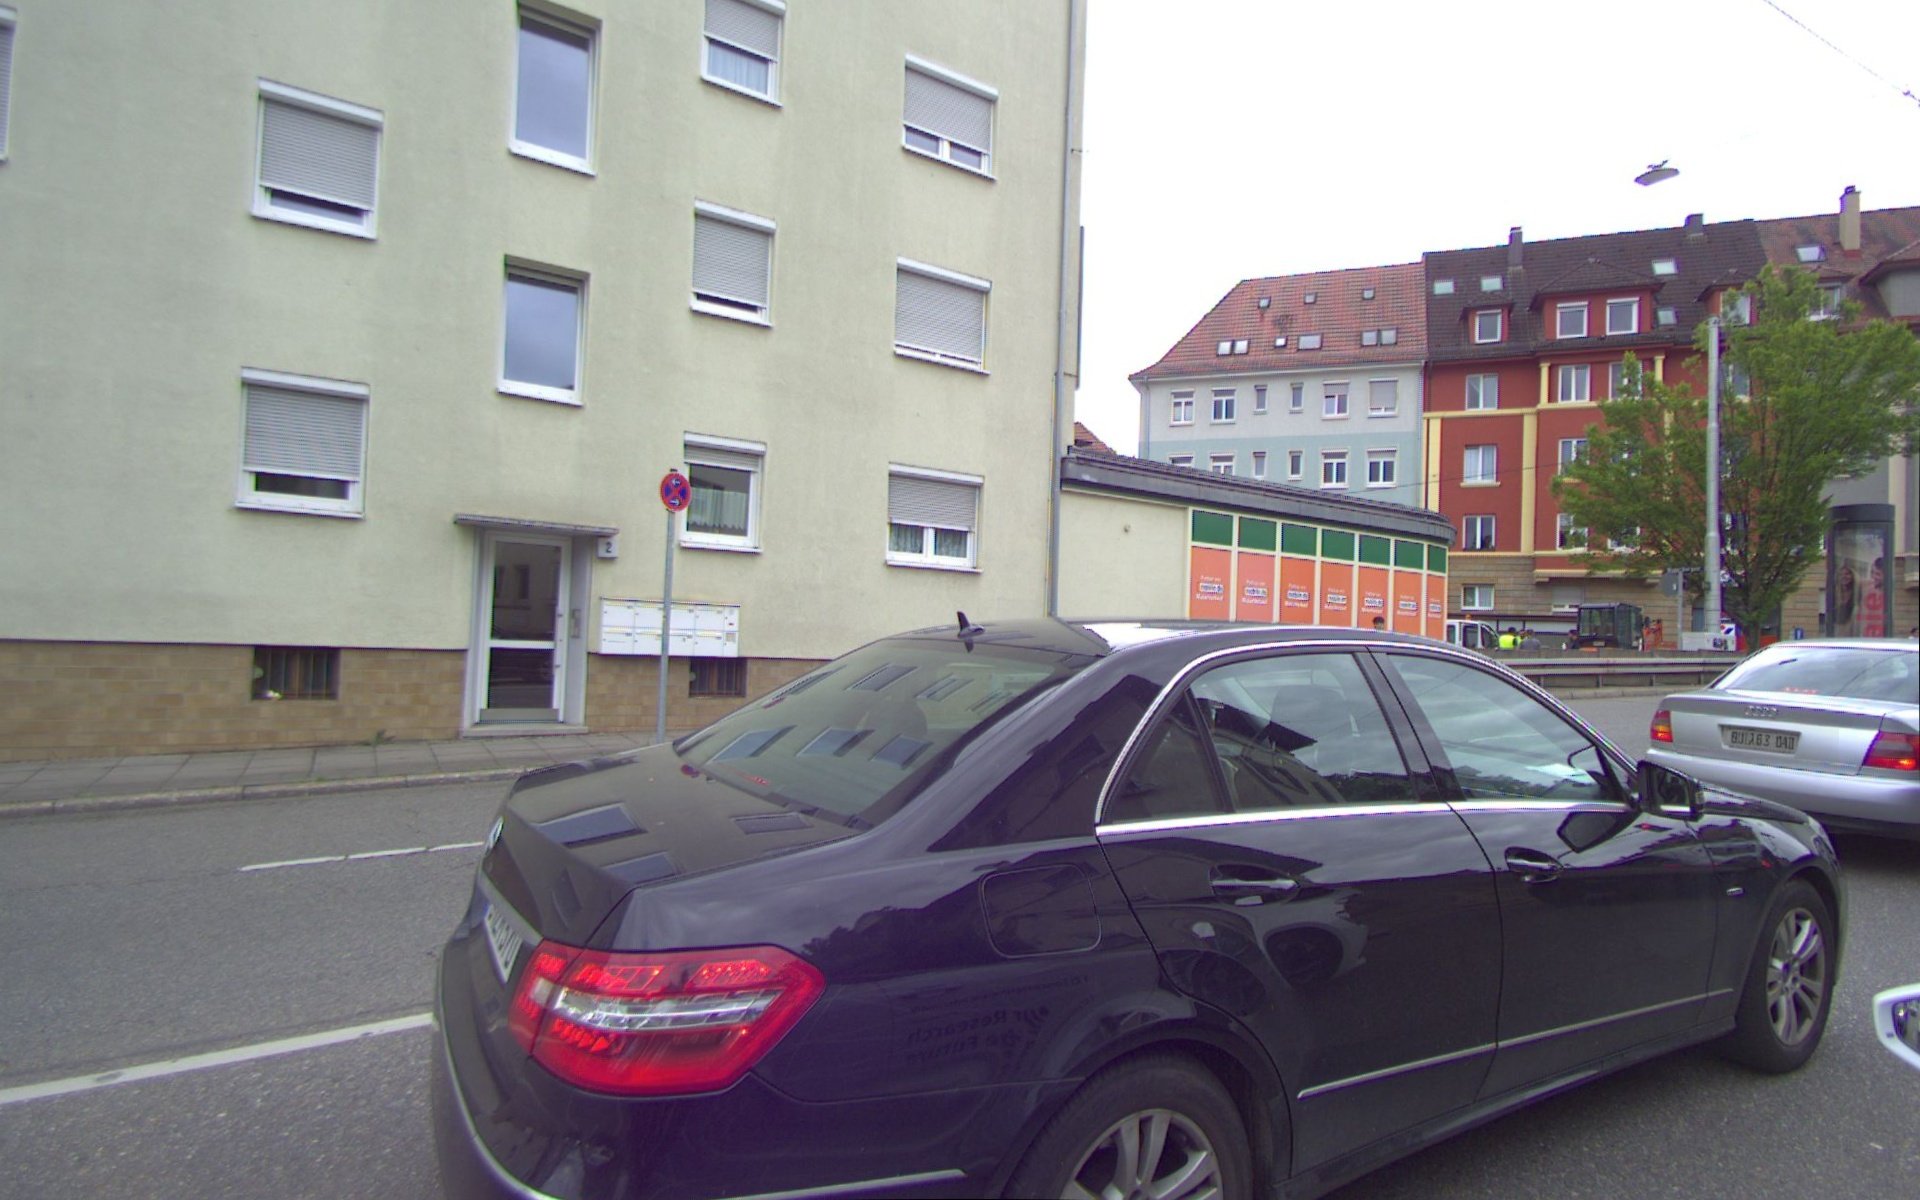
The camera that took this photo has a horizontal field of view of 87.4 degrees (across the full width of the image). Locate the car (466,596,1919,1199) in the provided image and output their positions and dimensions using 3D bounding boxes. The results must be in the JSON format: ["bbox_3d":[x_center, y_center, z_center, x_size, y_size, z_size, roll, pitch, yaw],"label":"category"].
[{"bbox_3d":[1.070,0.784,3.381,4.785,1.447,1.984,1,-2,-30],"label":"car"}]

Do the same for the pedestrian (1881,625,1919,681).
[{"bbox_3d":[26.843,1.488,28.469,0.724,1.567,0.794,0,-1,-3],"label":"pedestrian"}]

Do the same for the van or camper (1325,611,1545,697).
[{"bbox_3d":[14.527,1.580,31.017,5.894,2.369,2.686,0,-1,26],"label":"van or camper"}]

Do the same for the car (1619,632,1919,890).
[{"bbox_3d":[6.697,0.929,7.057,4.073,1.383,1.623,1,-2,-26],"label":"car"}]

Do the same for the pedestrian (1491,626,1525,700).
[{"bbox_3d":[15.531,1.761,28.480,0.811,2.040,0.679,0,0,25],"label":"pedestrian"}]

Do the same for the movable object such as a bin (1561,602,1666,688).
[{"bbox_3d":[16.546,1.115,25.381,3.510,2.040,1.363,2,-2,-42],"label":"movable object such as a bin"}]

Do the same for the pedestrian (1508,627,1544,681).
[{"bbox_3d":[14.730,1.393,26.135,0.613,1.381,0.602,0,-1,4],"label":"pedestrian"}]

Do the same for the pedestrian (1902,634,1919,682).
[{"bbox_3d":[27.502,1.646,28.739,0.572,1.356,0.576,0,-1,13],"label":"pedestrian"}]

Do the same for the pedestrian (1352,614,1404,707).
[{"bbox_3d":[7.701,1.092,18.505,0.680,1.658,0.775,-1,-2,40],"label":"pedestrian"}]
